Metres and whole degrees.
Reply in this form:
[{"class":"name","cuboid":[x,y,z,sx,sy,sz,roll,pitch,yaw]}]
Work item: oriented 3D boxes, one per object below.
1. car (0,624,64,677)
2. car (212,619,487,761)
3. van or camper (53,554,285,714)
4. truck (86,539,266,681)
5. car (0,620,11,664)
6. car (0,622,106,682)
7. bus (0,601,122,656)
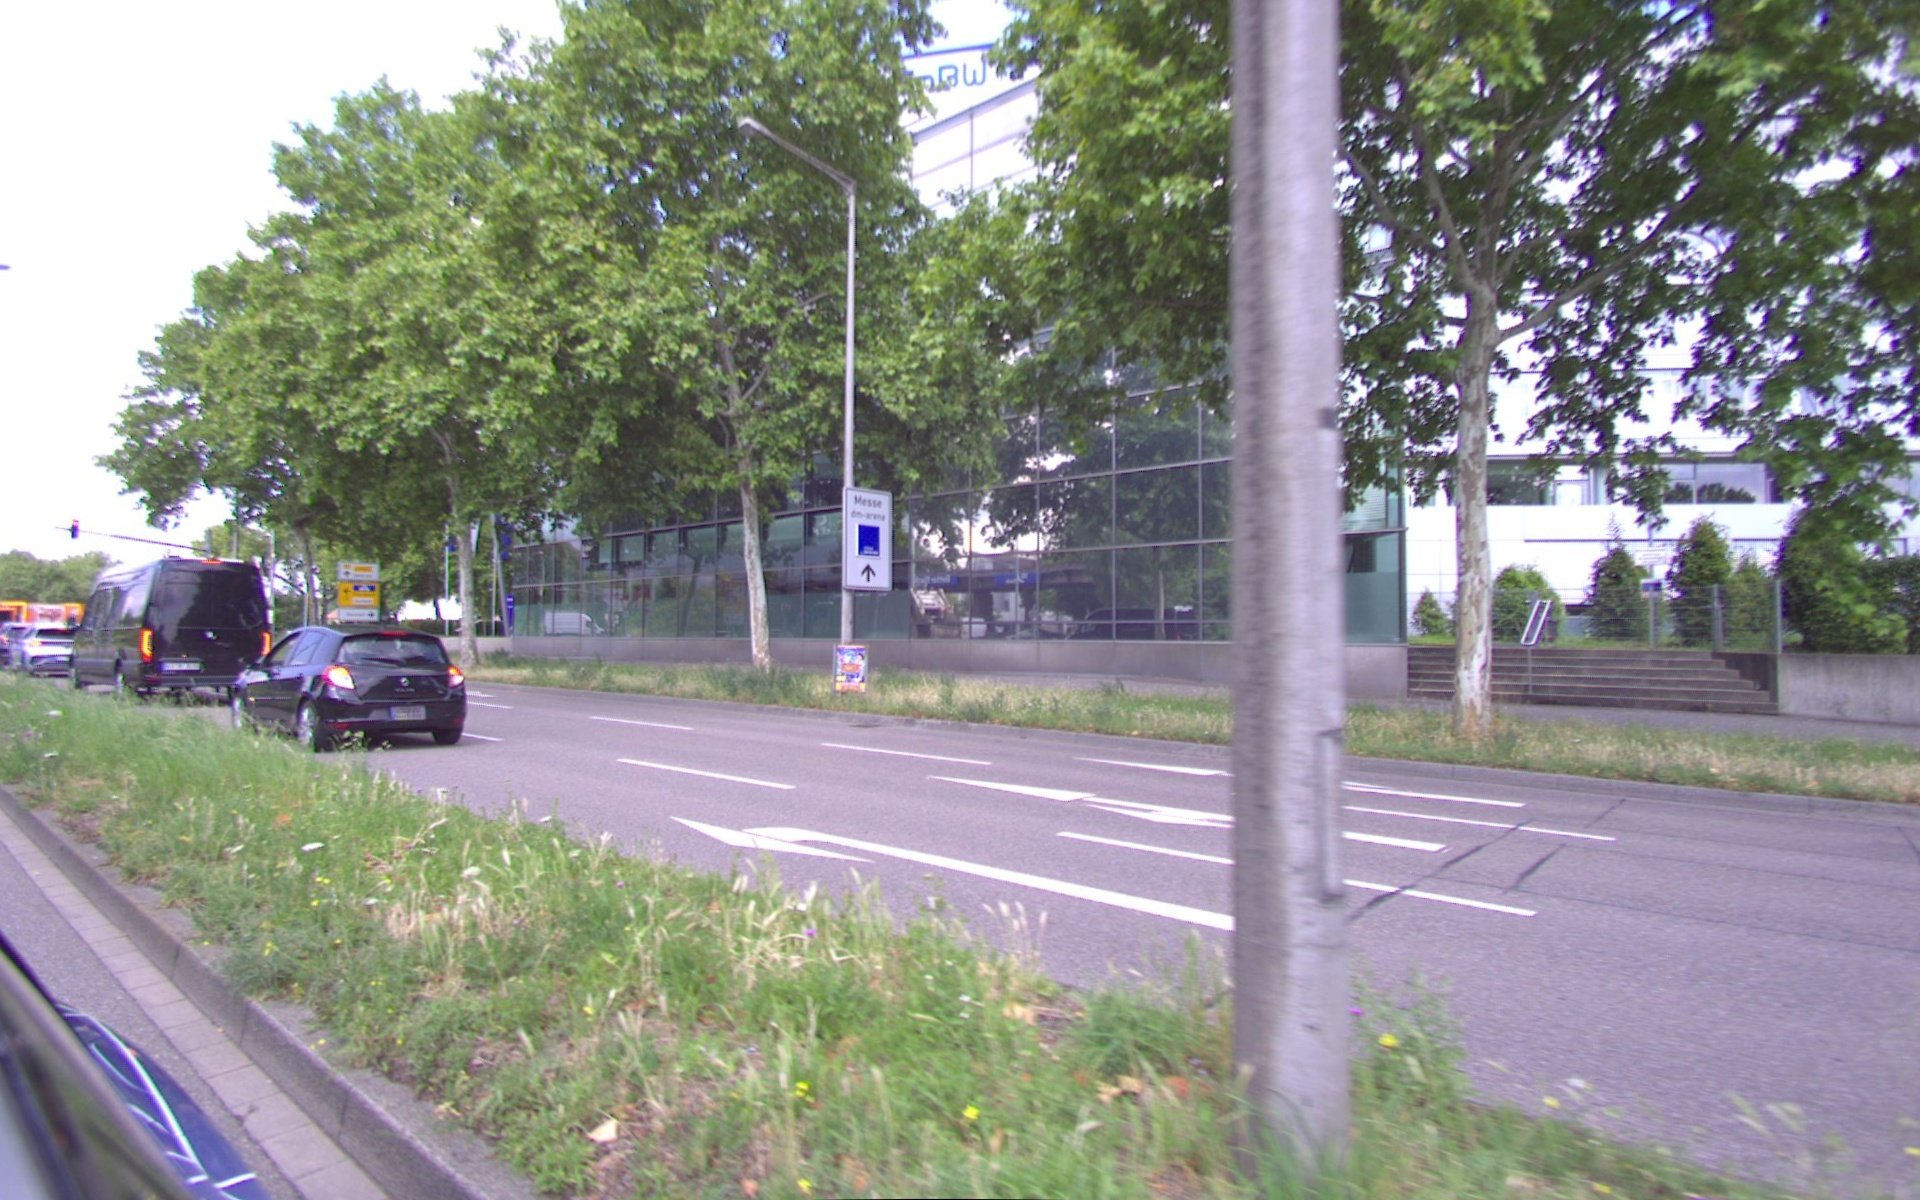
[{"class":"car","cuboid":[-30.880,1.597,33.126,4.358,1.599,1.690,-1,-1,40]},{"class":"car","cuboid":[-7.661,0.999,12.566,3.937,1.475,1.677,0,-2,39]},{"class":"van or camper","cuboid":[-15.716,0.649,19.931,6.710,2.680,2.083,-1,-3,39]},{"class":"truck","cuboid":[-25.174,0.424,32.212,10.157,3.918,2.621,-1,-4,42]},{"class":"car","cuboid":[-36.658,1.573,37.379,4.565,1.586,1.845,-2,-2,41]},{"class":"car","cuboid":[-26.190,1.472,29.174,4.231,1.564,1.726,-1,-4,41]},{"class":"bus","cuboid":[-67.778,1.984,74.569,2.712,3.491,10.378,2,1,5]}]
